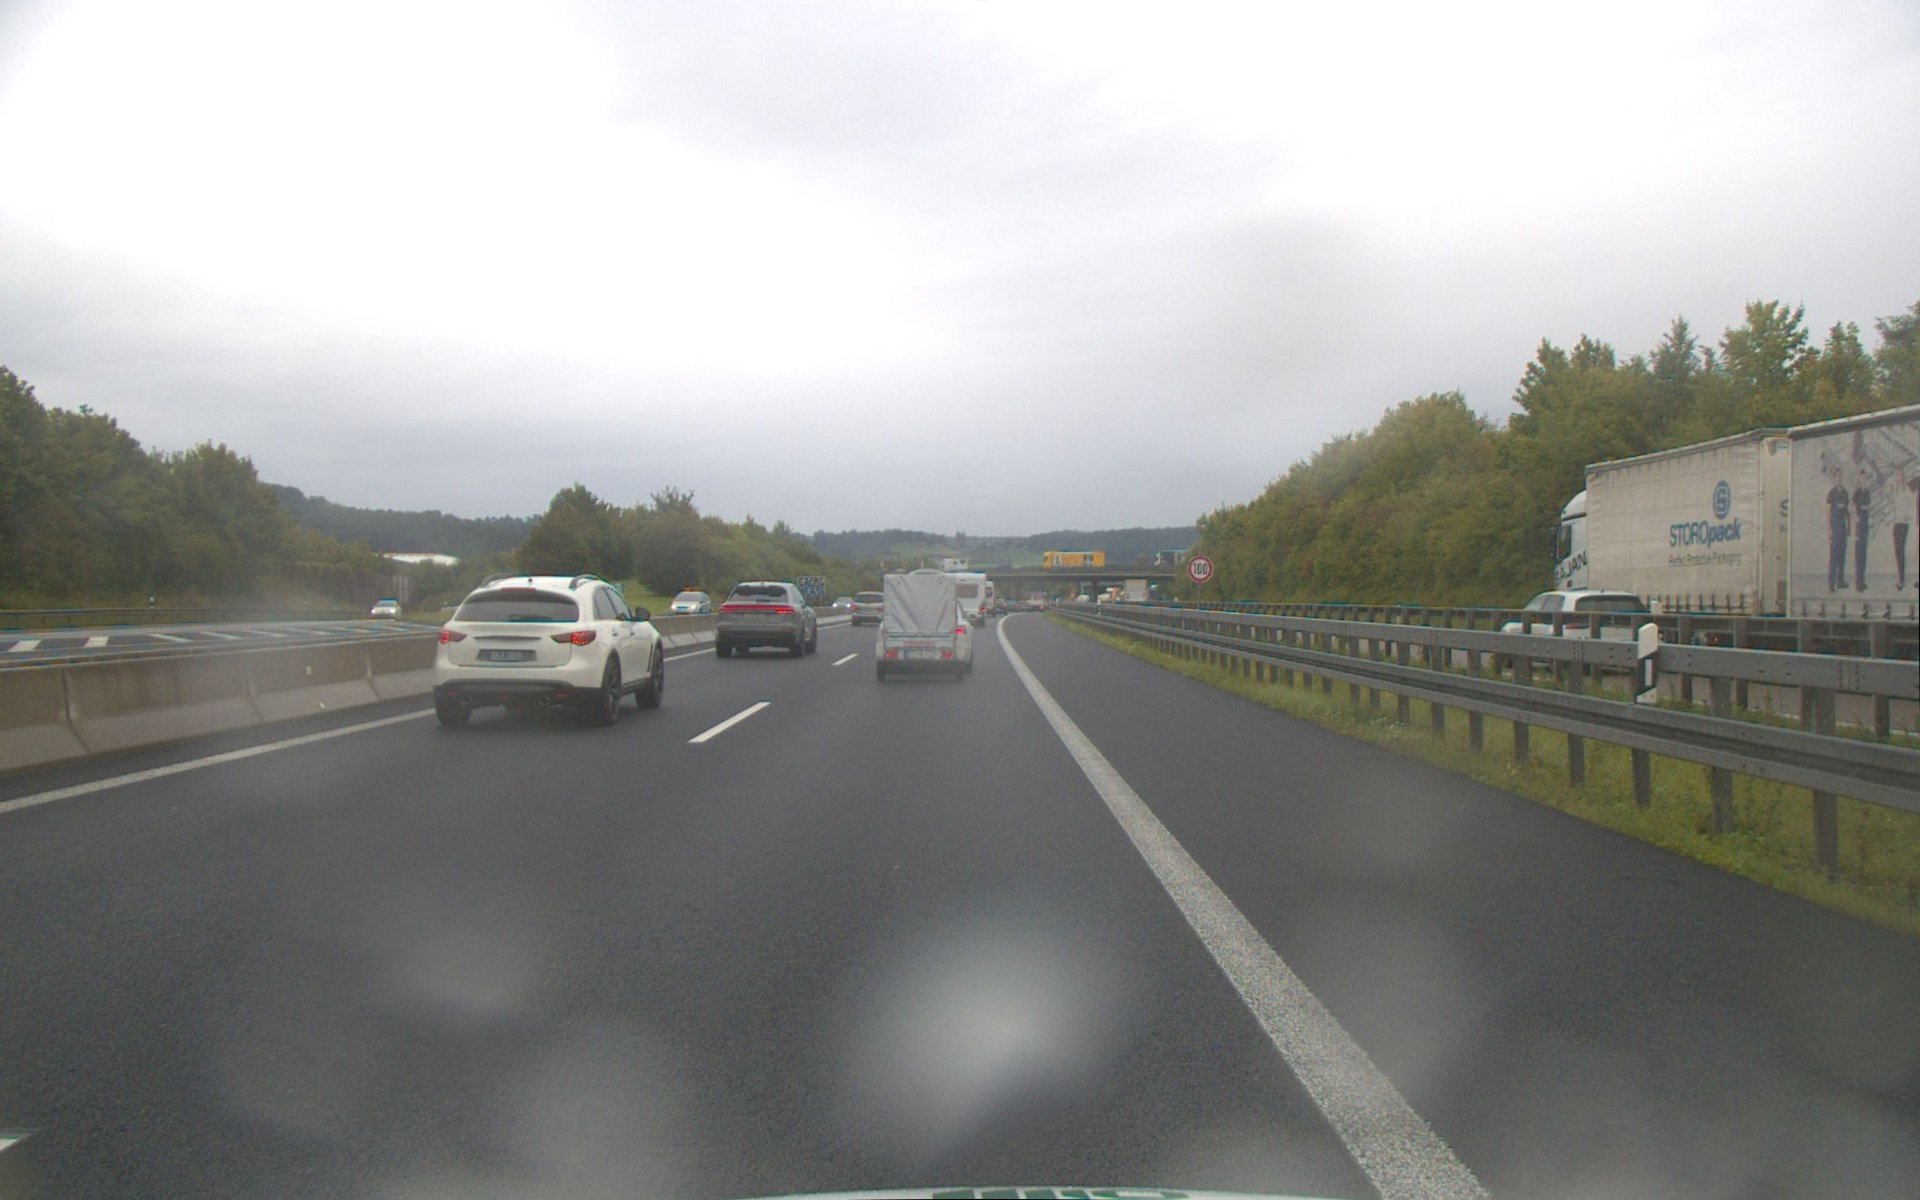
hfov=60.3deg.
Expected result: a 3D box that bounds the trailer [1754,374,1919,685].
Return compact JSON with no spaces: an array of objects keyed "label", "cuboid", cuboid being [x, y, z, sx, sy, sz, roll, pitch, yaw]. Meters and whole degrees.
[{"label":"trailer","cuboid":[15.165,-0.986,22.757,3.367,4.364,10.452,0,0,-1]}]

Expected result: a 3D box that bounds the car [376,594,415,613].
[{"label":"car","cuboid":[-43.170,0.276,126.553,2.139,1.455,4.379,0,0,-9]}]

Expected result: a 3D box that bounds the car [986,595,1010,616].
[{"label":"car","cuboid":[3.365,0.504,146.270,1.953,1.780,3.999,1,0,-1]}]

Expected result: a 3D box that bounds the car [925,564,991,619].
[{"label":"car","cuboid":[-0.038,-0.432,82.275,2.953,2.662,6.077,0,0,3]}]

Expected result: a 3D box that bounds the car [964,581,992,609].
[{"label":"car","cuboid":[1.376,-0.357,125.314,1.953,2.071,4.150,1,0,-1]}]

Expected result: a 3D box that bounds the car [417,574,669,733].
[{"label":"car","cuboid":[-4.762,0.557,19.591,1.936,1.668,4.499,0,0,-1]}]

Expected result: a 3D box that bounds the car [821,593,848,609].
[{"label":"car","cuboid":[-13.080,0.088,172.458,2.134,1.725,5.252,0,0,4]}]

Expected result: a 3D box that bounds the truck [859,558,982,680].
[{"label":"truck","cuboid":[-0.614,0.290,31.115,1.977,2.020,7.214,0,0,1]}]

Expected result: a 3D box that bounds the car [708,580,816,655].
[{"label":"car","cuboid":[-4.628,0.389,39.301,2.130,1.660,4.499,0,0,-1]}]

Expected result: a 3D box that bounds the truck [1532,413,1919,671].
[{"label":"truck","cuboid":[15.032,-1.019,33.260,3.367,4.364,10.416,0,0,-1]}]

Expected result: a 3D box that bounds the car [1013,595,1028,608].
[{"label":"car","cuboid":[8.627,0.152,234.413,1.952,1.780,4.002,1,0,3]}]

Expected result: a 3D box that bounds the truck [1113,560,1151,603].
[{"label":"truck","cuboid":[21.134,-2.236,204.141,4.008,5.193,10.467,0,0,2]}]

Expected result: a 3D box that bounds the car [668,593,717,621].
[{"label":"car","cuboid":[-16.217,0.388,100.539,2.135,1.663,4.538,0,0,1]}]

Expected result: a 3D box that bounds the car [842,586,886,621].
[{"label":"car","cuboid":[-4.591,0.161,79.611,1.861,1.641,4.017,0,0,0]}]

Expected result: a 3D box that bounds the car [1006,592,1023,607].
[{"label":"car","cuboid":[6.706,-0.063,202.298,1.952,1.780,4.001,1,0,2]}]

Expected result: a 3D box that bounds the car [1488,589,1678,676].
[{"label":"car","cuboid":[11.182,0.546,30.002,1.822,1.472,4.156,0,0,-1]}]
